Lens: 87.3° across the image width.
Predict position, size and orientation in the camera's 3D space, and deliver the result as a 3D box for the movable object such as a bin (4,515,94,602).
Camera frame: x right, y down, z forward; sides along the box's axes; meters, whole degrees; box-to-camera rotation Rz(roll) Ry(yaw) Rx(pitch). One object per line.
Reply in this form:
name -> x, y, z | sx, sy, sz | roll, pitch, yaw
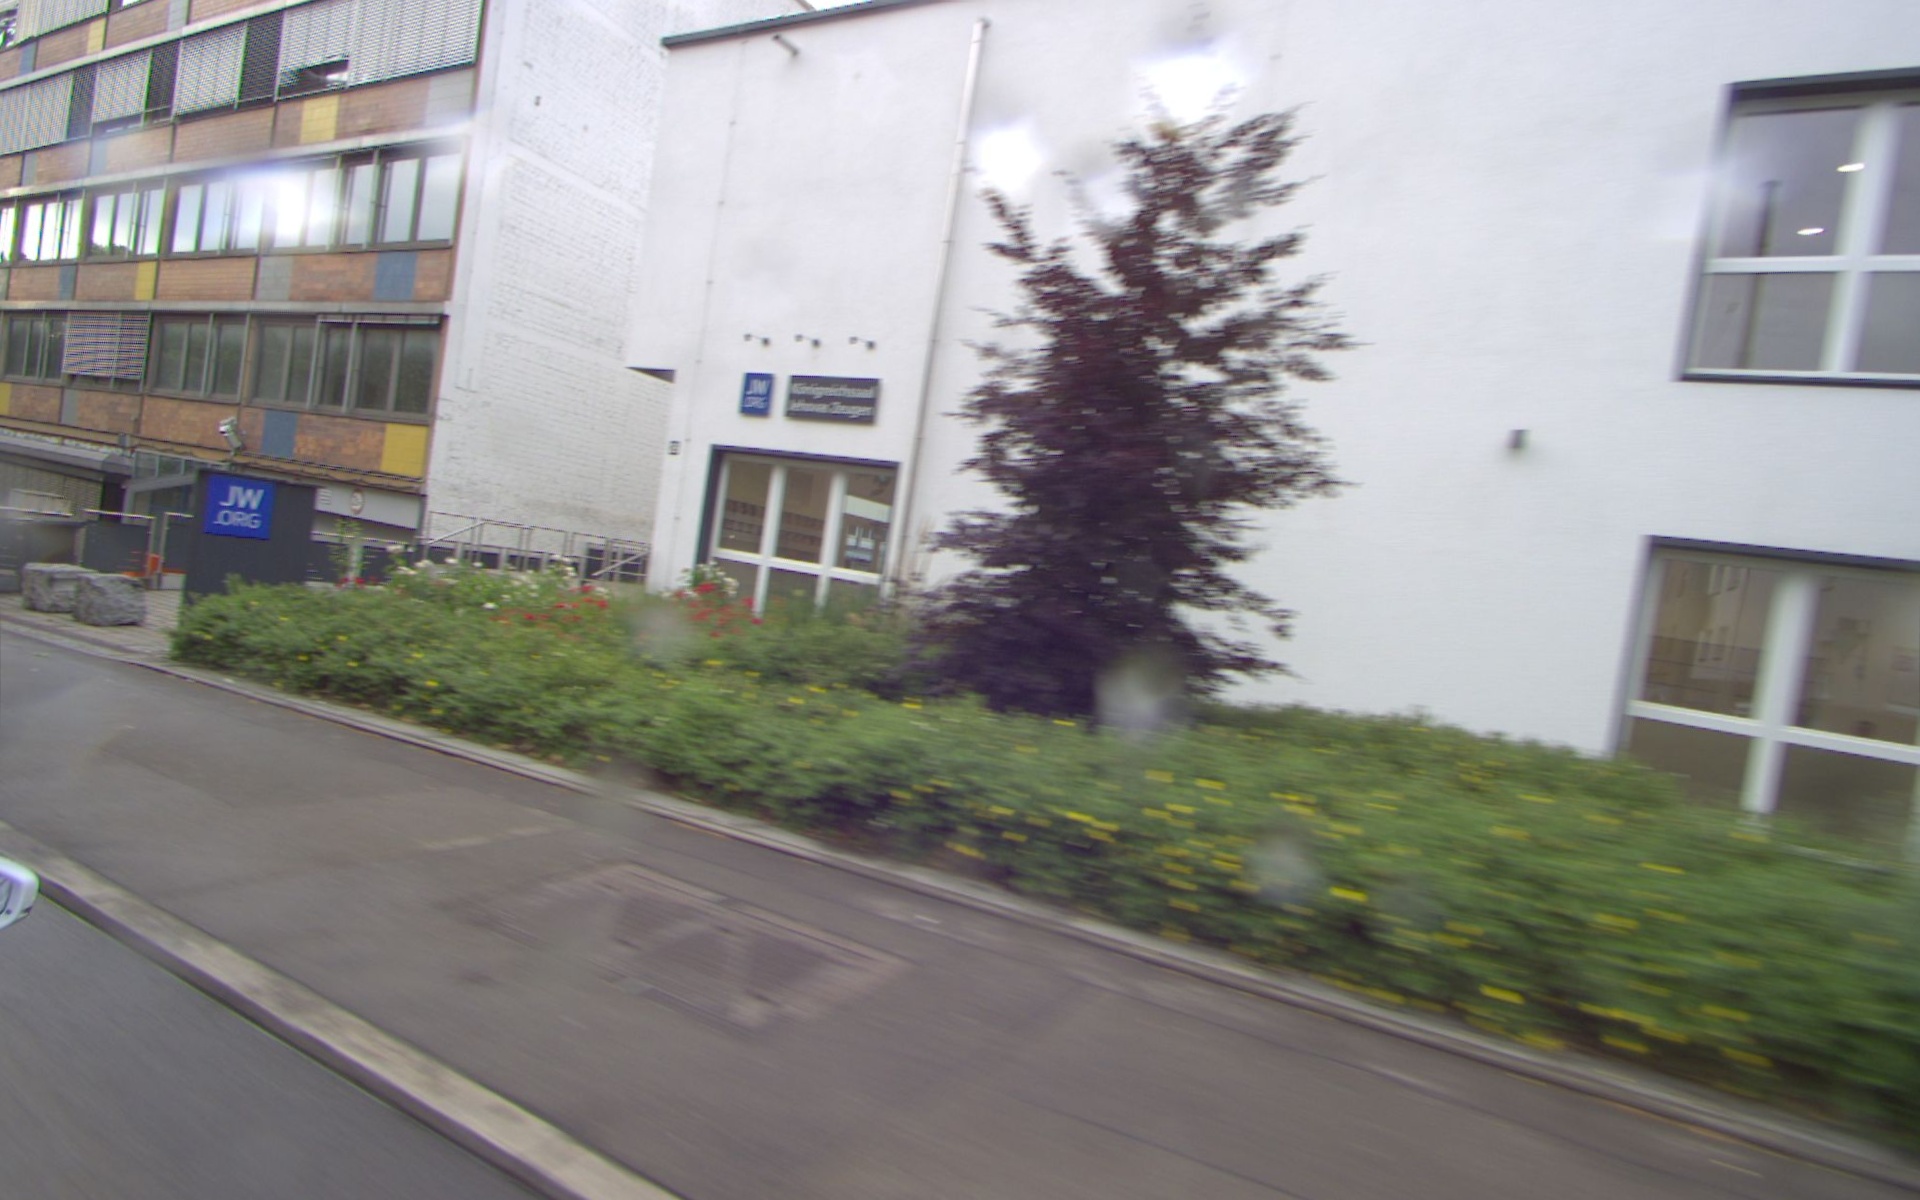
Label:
movable object such as a bin -> -12.531, -0.562, 13.840 | 0.765, 1.097, 0.695 | 8, 4, 31
